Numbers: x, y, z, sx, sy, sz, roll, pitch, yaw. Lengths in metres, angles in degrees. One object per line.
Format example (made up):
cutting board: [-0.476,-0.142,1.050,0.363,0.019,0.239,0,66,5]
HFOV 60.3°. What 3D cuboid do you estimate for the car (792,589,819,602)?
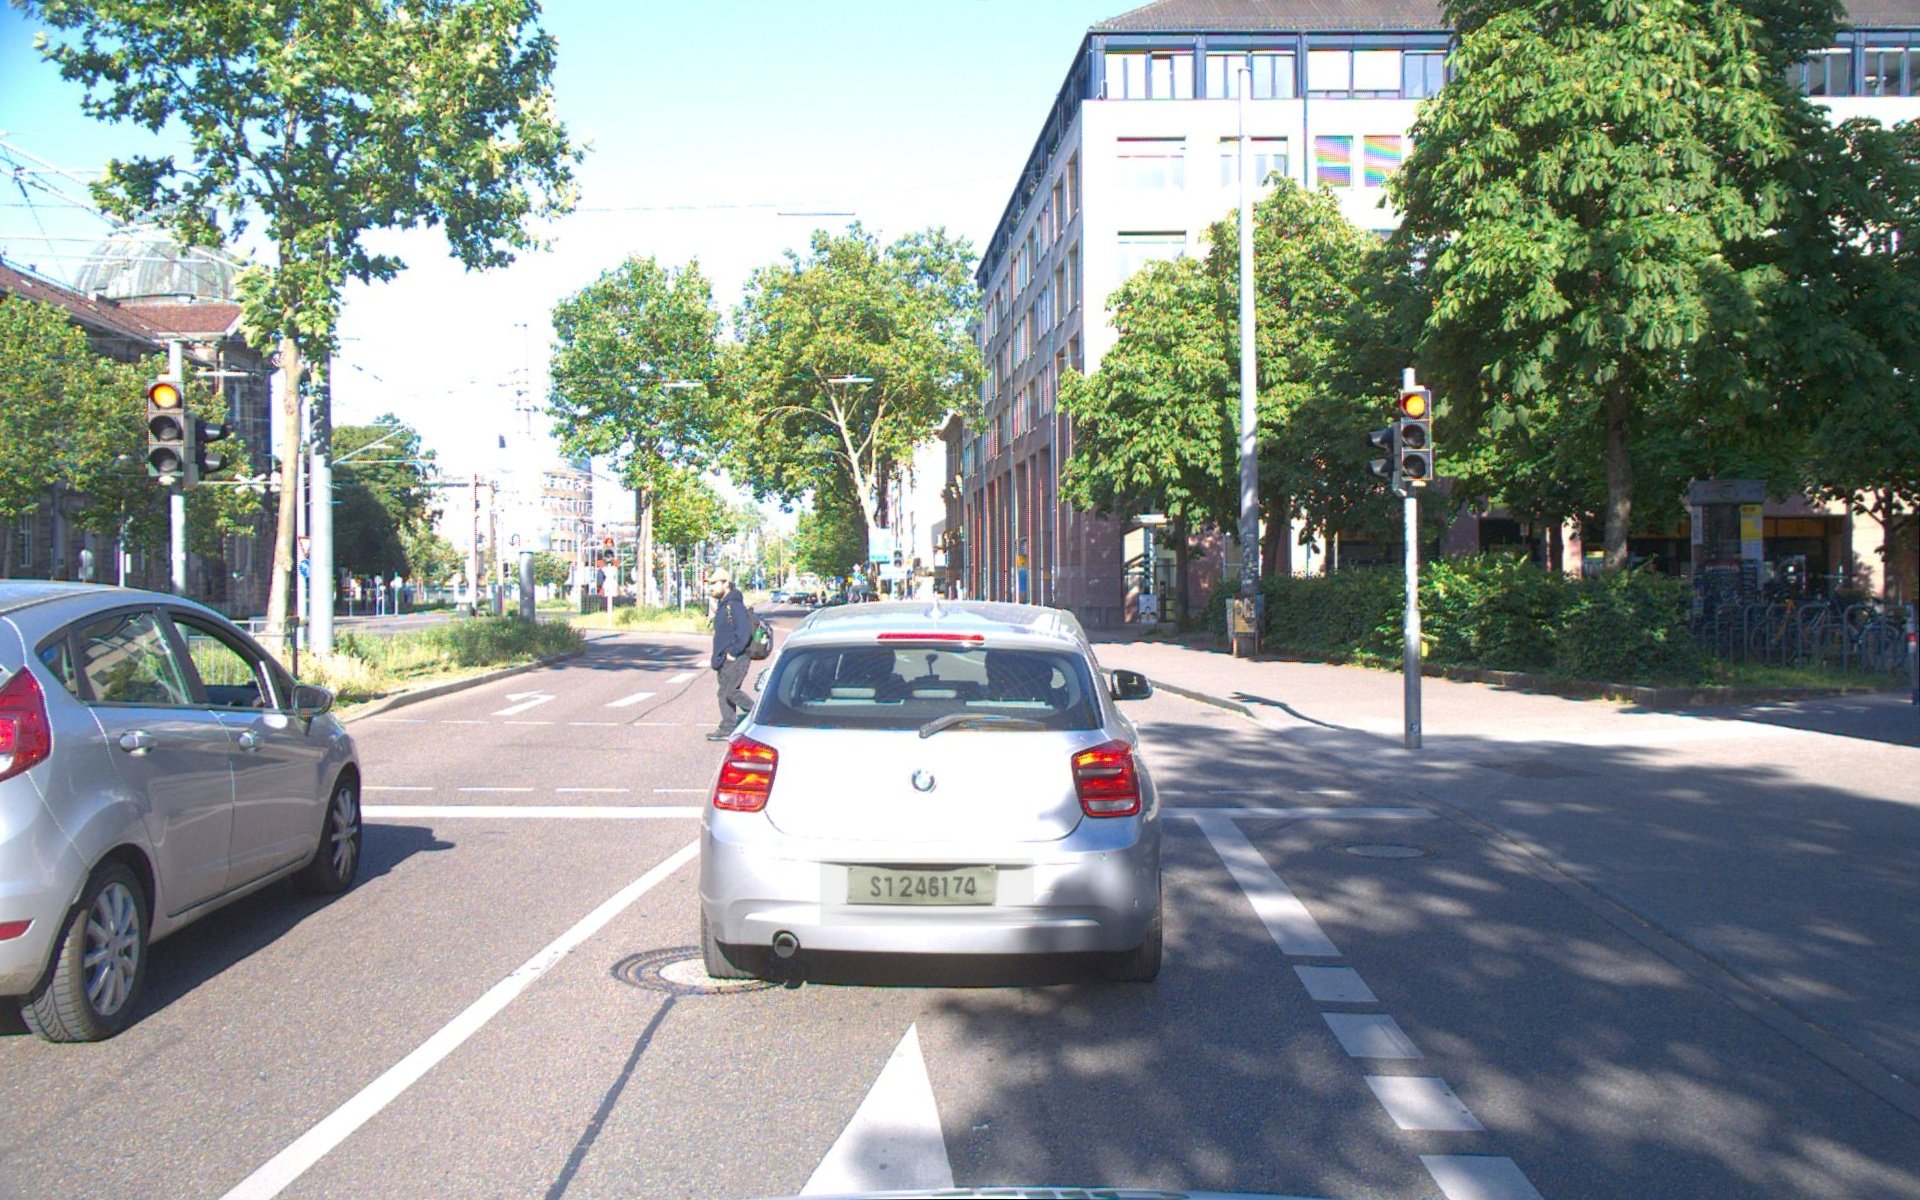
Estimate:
car: [-19.004,-0.572,203.459,1.972,1.512,3.962,-1,0,-29]

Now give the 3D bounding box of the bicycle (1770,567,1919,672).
bicycle: [12.059,0.255,22.310,1.956,1.337,0.574,-2,0,-2]

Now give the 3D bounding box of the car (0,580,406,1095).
car: [-3.488,0.654,6.375,1.627,1.434,3.630,1,0,-3]

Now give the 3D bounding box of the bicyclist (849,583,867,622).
bicyclist: [-4.484,0.099,72.494,0.644,1.686,0.765,-1,0,4]

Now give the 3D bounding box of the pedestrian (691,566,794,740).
pedestrian: [-2.129,0.506,16.131,0.925,1.657,0.626,0,0,-14]

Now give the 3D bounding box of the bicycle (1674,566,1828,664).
bicycle: [11.570,0.216,24.207,1.956,1.337,0.574,-2,0,-2]

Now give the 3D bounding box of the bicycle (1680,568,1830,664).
bicycle: [11.926,0.234,24.836,1.956,1.337,0.574,-2,0,-2]

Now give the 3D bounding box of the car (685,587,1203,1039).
car: [0.023,0.685,7.388,1.694,1.414,3.841,1,1,2]

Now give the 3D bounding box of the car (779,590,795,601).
car: [-23.075,-0.615,220.262,1.956,1.512,3.993,0,0,-7]

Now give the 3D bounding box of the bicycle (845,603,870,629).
bicycle: [-4.484,0.700,72.504,0.814,1.059,1.875,-1,0,4]
